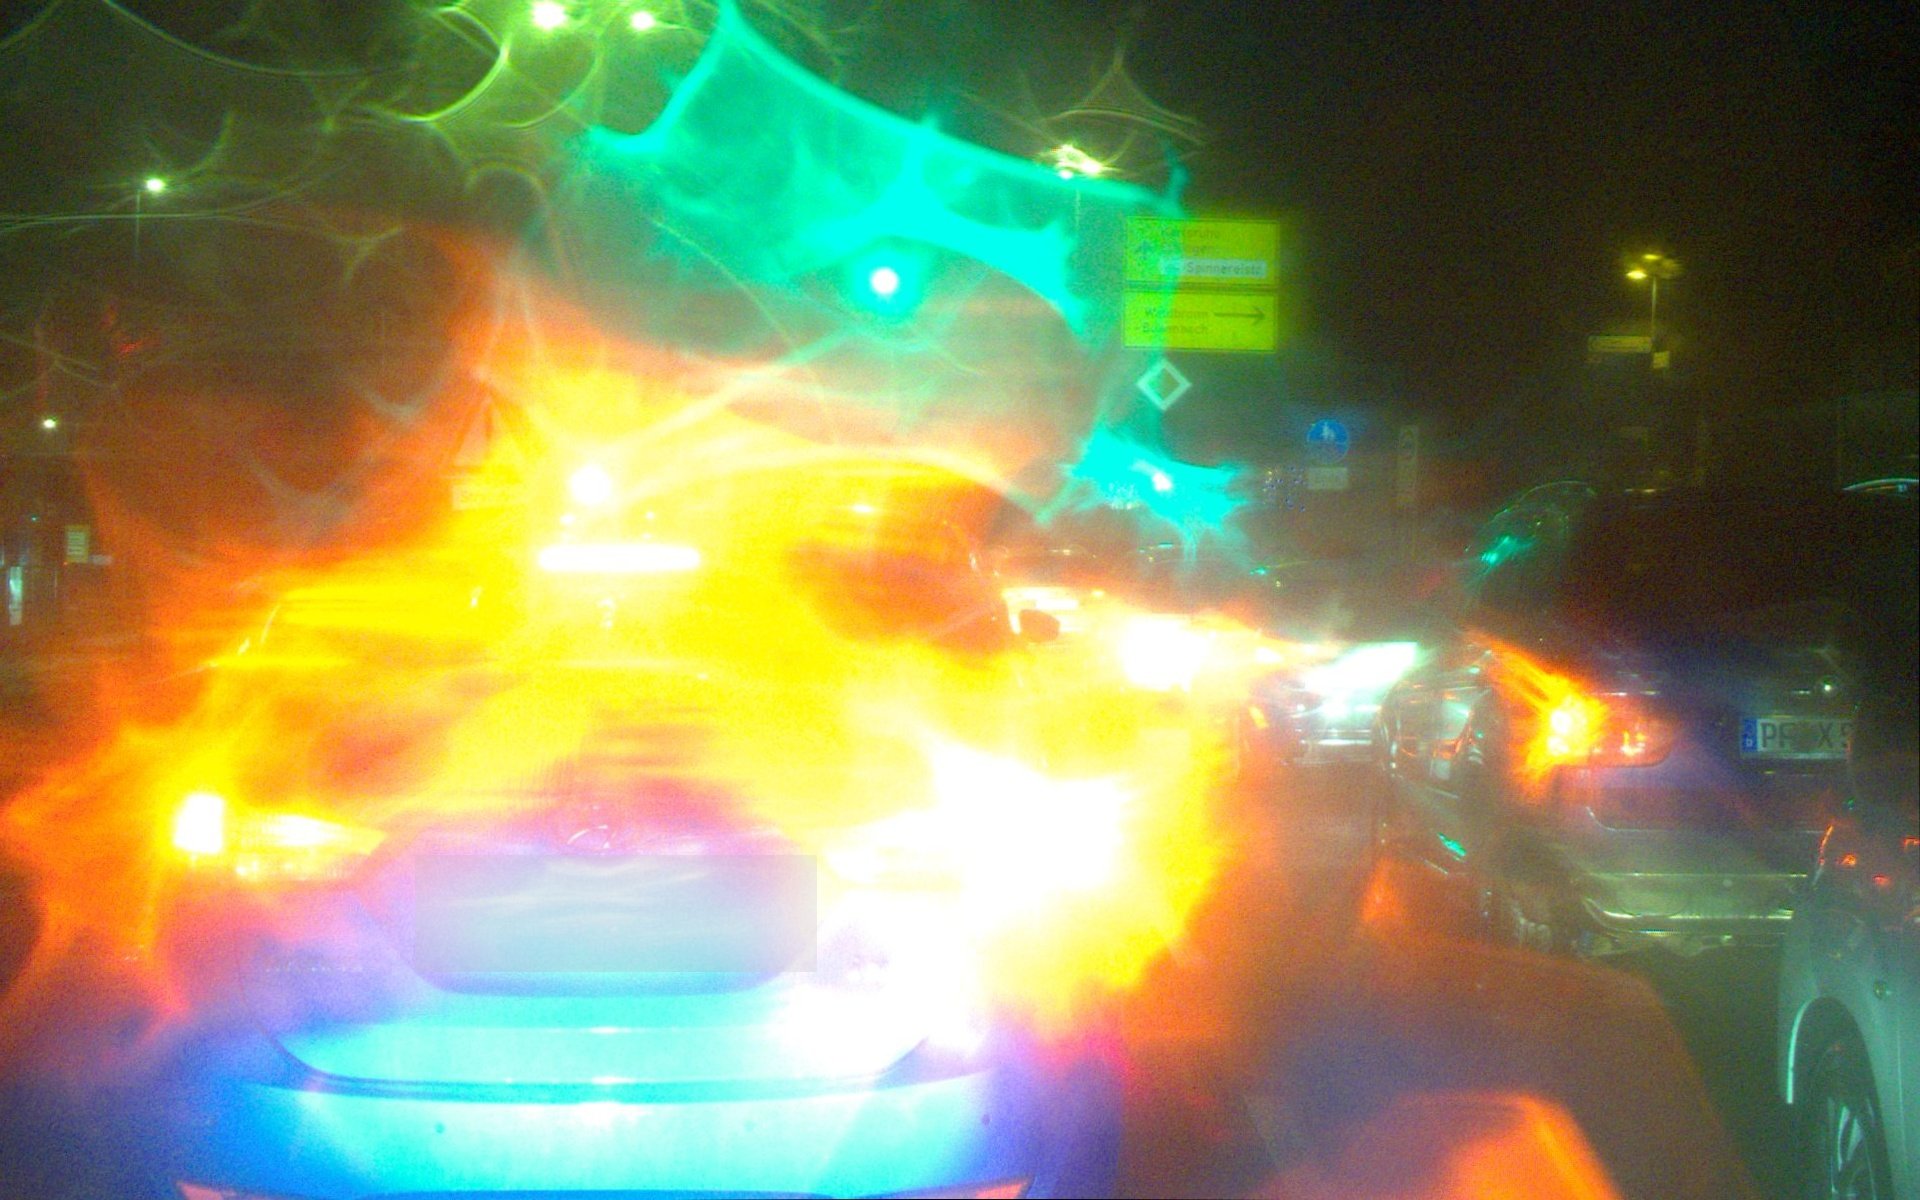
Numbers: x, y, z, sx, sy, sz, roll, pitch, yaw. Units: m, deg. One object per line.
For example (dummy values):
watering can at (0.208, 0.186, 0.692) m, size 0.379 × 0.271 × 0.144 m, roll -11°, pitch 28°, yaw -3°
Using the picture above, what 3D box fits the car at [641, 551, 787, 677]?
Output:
car at (-3.778, 0.188, 52.185) m, size 1.993 × 1.818 × 4.001 m, roll 1°, pitch 0°, yaw -7°

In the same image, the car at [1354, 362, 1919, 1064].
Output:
car at (2.635, 0.320, 12.085) m, size 1.968 × 2.040 × 4.000 m, roll 1°, pitch 0°, yaw -1°

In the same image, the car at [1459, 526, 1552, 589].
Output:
car at (14.904, -1.163, 94.137) m, size 1.865 × 1.641 × 3.963 m, roll -2°, pitch 1°, yaw 0°

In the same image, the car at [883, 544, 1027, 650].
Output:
car at (-0.119, -0.064, 53.158) m, size 1.857 × 1.539 × 3.931 m, roll 1°, pitch 0°, yaw -5°

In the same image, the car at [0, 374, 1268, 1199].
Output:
car at (-0.578, 0.497, 7.622) m, size 2.014 × 1.711 × 4.452 m, roll 1°, pitch 0°, yaw -1°

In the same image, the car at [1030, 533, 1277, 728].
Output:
car at (1.723, 0.244, 31.871) m, size 1.993 × 1.664 × 4.000 m, roll 1°, pitch 0°, yaw -1°

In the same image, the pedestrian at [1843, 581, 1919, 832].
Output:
pedestrian at (6.462, 0.722, 23.588) m, size 0.622 × 1.696 × 0.541 m, roll 1°, pitch 0°, yaw -3°

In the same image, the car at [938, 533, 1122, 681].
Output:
car at (0.839, 0.065, 43.750) m, size 1.993 × 1.767 × 4.001 m, roll 1°, pitch 0°, yaw -3°

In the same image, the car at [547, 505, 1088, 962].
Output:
car at (-0.557, 0.483, 14.860) m, size 1.993 × 1.678 × 4.000 m, roll 1°, pitch 0°, yaw -1°

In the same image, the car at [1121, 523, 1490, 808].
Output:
car at (2.197, 0.381, 22.960) m, size 1.993 × 1.712 × 4.000 m, roll 1°, pitch 0°, yaw -1°

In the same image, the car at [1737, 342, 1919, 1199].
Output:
car at (2.476, 0.536, 4.540) m, size 1.851 × 1.858 × 4.341 m, roll 1°, pitch 0°, yaw -1°
